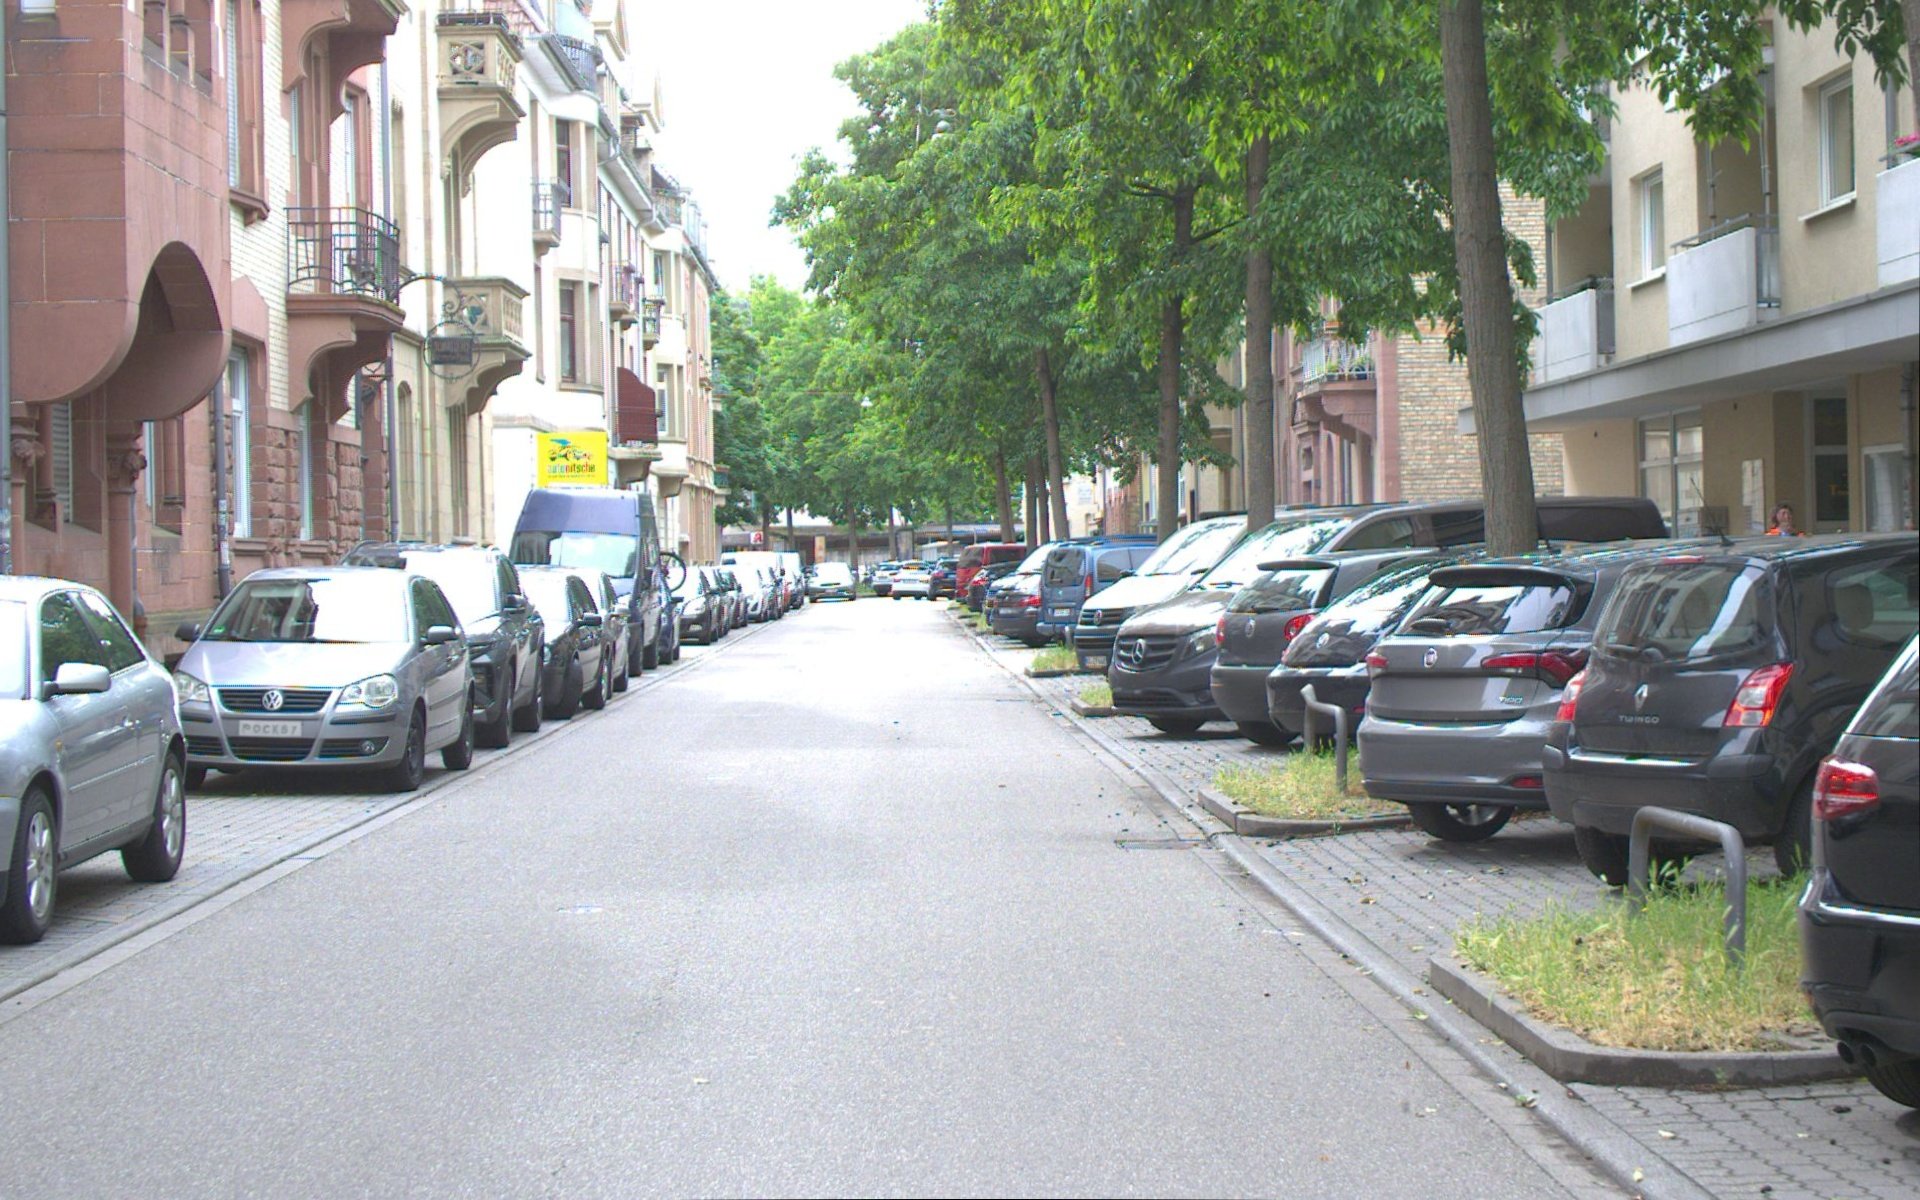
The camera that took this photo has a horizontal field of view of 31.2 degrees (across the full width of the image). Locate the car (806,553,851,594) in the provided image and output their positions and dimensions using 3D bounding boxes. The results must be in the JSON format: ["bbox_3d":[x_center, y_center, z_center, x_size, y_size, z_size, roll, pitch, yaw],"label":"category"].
[{"bbox_3d":[-5.443,-1.091,142.448,1.821,1.639,3.754,0,0,-2],"label":"car"}]

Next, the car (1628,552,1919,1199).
[{"bbox_3d":[3.803,0.557,8.829,4.102,1.437,1.852,-2,1,-39],"label":"car"}]

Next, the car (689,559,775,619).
[{"bbox_3d":[-5.875,-0.311,88.795,1.993,1.470,4.000,-1,1,-1],"label":"car"}]

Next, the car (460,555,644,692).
[{"bbox_3d":[-4.593,0.267,39.153,1.667,1.468,4.000,0,0,-1],"label":"car"}]

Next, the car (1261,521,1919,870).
[{"bbox_3d":[3.889,0.399,17.597,4.213,1.495,1.976,-3,0,-28],"label":"car"}]

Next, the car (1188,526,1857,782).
[{"bbox_3d":[3.804,0.328,23.228,4.039,1.478,1.948,-3,0,-27],"label":"car"}]

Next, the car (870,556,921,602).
[{"bbox_3d":[-2.610,-0.839,138.938,1.993,1.788,4.000,0,0,-1],"label":"car"}]

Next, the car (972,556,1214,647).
[{"bbox_3d":[2.424,0.018,62.495,4.010,1.554,1.884,-1,1,-32],"label":"car"}]

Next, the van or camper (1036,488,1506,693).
[{"bbox_3d":[3.455,-0.108,38.127,4.729,1.987,2.000,-3,-1,-26],"label":"van or camper"}]

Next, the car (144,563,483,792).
[{"bbox_3d":[-4.346,0.469,23.625,1.662,1.416,3.929,0,1,-1],"label":"car"}]

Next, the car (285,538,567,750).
[{"bbox_3d":[-4.422,0.309,29.057,1.786,1.641,4.362,0,1,-1],"label":"car"}]

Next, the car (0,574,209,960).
[{"bbox_3d":[-4.431,0.600,14.434,1.726,1.382,4.137,0,1,-1],"label":"car"}]

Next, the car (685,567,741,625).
[{"bbox_3d":[-5.805,-0.108,80.941,1.135,1.305,3.261,-1,1,-2],"label":"car"}]

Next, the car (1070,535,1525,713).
[{"bbox_3d":[3.262,0.211,33.044,3.995,1.439,1.841,-4,1,-32],"label":"car"}]

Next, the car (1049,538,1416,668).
[{"bbox_3d":[3.494,0.029,43.877,4.301,1.388,1.923,-4,1,-32],"label":"car"}]

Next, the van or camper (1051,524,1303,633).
[{"bbox_3d":[4.409,-0.452,69.579,4.775,2.130,2.055,0,1,-32],"label":"van or camper"}]

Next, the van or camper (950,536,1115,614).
[{"bbox_3d":[2.018,-0.706,95.931,4.146,2.078,1.953,-2,1,-29],"label":"van or camper"}]

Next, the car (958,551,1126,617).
[{"bbox_3d":[1.939,-0.379,81.922,3.760,1.460,1.729,-1,1,-6],"label":"car"}]

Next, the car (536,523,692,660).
[{"bbox_3d":[-5.398,-0.158,54.133,1.993,2.007,4.891,-1,1,-1],"label":"car"}]

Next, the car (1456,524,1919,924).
[{"bbox_3d":[4.080,0.426,14.640,3.359,1.491,1.852,-3,0,-23],"label":"car"}]

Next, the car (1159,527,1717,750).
[{"bbox_3d":[3.696,0.271,26.504,3.849,1.497,1.913,-3,0,-30],"label":"car"}]

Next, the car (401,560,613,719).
[{"bbox_3d":[-4.443,0.350,34.185,1.634,1.468,4.000,0,1,-1],"label":"car"}]

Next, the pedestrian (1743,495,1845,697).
[{"bbox_3d":[7.368,-0.039,30.399,0.624,1.736,0.849,-2,0,-1],"label":"pedestrian"}]

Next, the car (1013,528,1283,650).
[{"bbox_3d":[3.274,-0.197,59.674,4.172,1.863,2.000,-3,0,-30],"label":"car"}]

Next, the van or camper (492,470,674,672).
[{"bbox_3d":[-5.248,-0.416,48.475,2.008,2.642,5.316,-1,1,-1],"label":"van or camper"}]

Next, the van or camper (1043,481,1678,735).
[{"bbox_3d":[3.453,0.037,29.439,5.005,1.863,2.127,-3,1,-28],"label":"van or camper"}]

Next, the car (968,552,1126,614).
[{"bbox_3d":[2.172,-0.442,86.603,3.760,1.460,1.729,-1,1,-6],"label":"car"}]

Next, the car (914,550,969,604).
[{"bbox_3d":[-0.735,-0.907,132.918,1.993,2.007,4.000,2,1,-2],"label":"car"}]

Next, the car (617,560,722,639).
[{"bbox_3d":[-5.519,-0.029,65.733,1.789,1.475,4.023,0,1,-2],"label":"car"}]
